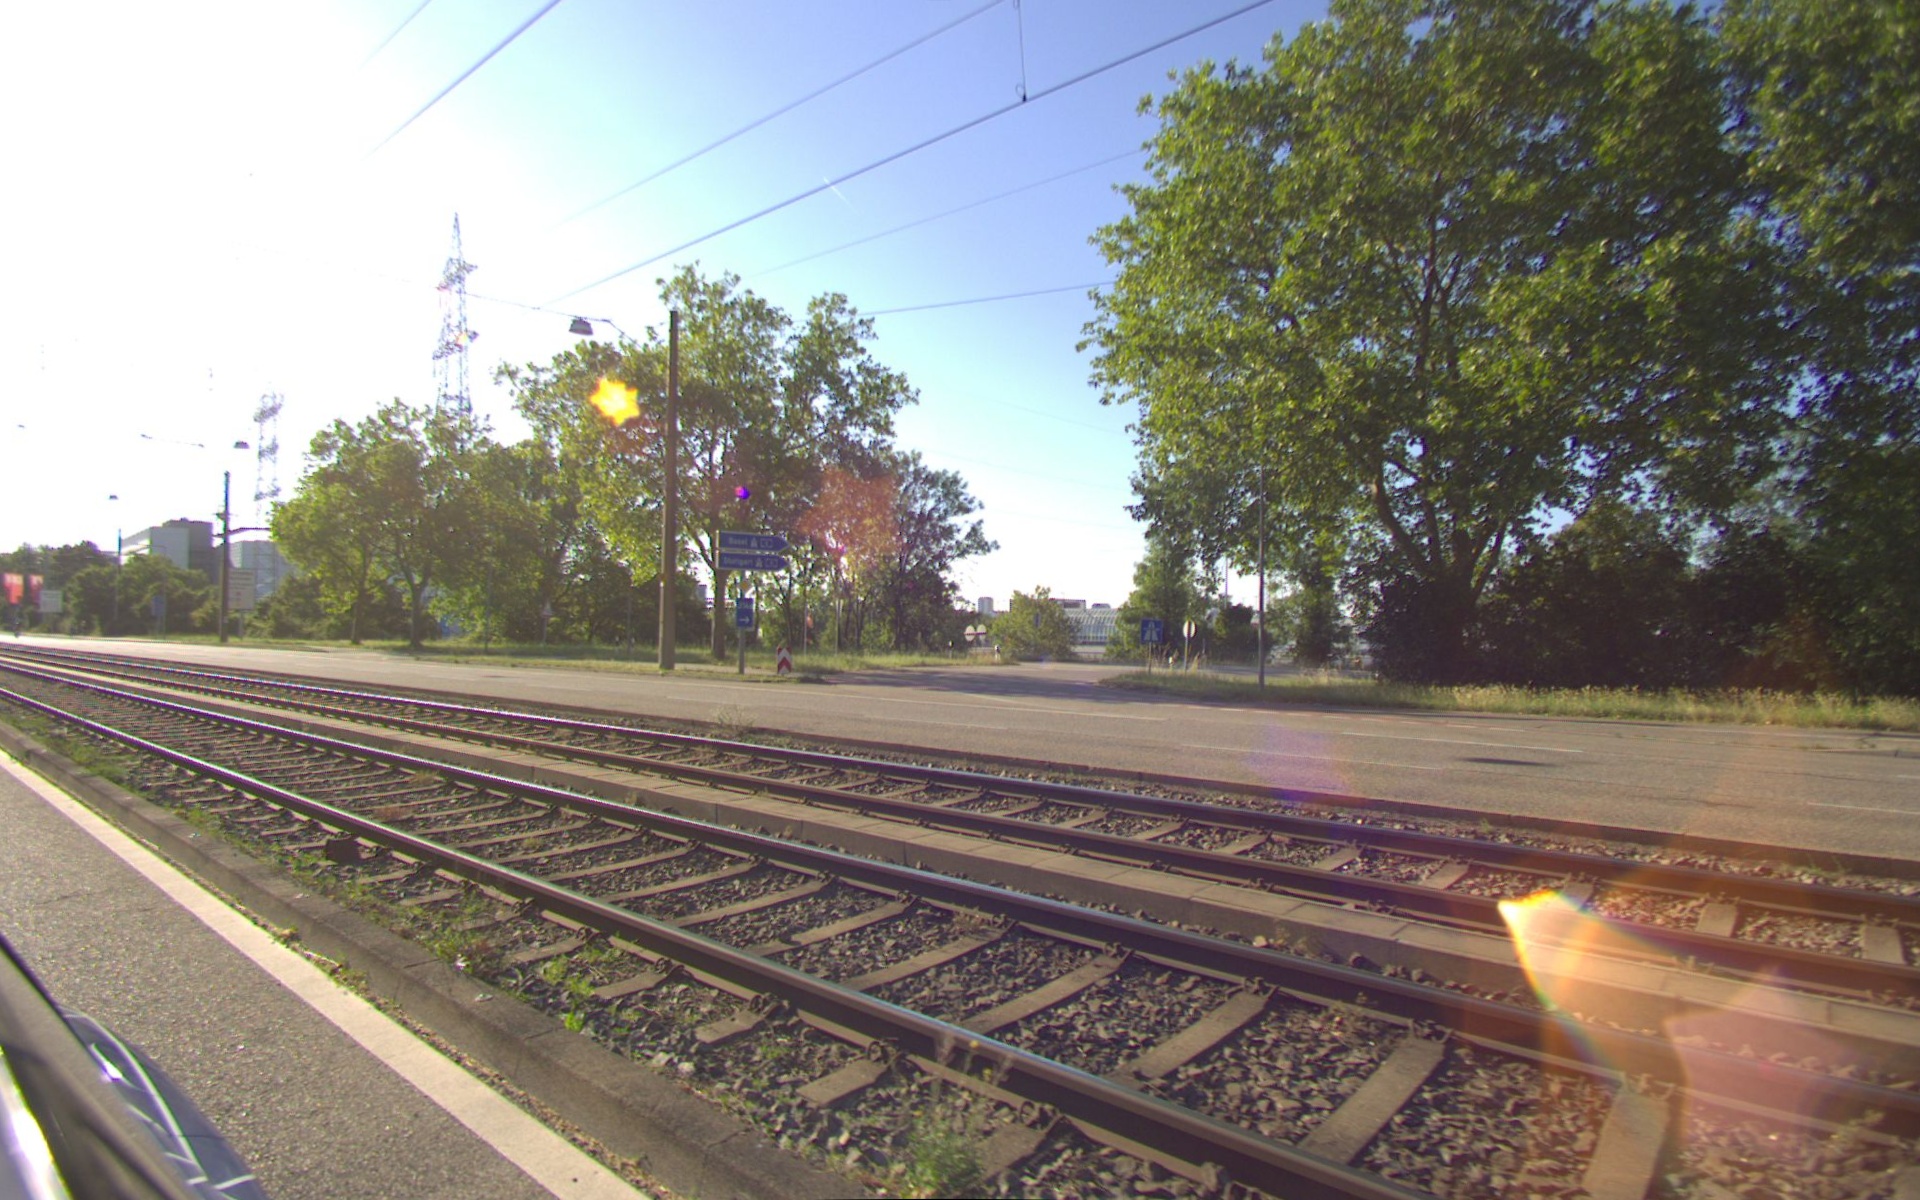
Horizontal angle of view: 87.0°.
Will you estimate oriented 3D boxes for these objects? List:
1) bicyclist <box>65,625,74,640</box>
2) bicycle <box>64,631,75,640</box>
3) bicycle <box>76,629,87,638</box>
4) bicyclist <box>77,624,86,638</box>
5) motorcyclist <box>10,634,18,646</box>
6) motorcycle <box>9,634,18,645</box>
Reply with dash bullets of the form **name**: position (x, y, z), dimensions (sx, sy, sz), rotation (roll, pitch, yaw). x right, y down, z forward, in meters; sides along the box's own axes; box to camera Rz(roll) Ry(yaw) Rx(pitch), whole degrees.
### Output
- **bicyclist**: position (-97.958, 3.585, 111.300), dimensions (0.966, 1.623, 0.584), rotation (-1, -2, 41)
- **bicycle**: position (-98.032, 3.895, 111.368), dimensions (2.184, 1.029, 0.584), rotation (-1, -2, 41)
- **bicycle**: position (-97.514, 3.711, 112.359), dimensions (2.184, 1.029, 0.584), rotation (-1, -2, 41)
- **bicyclist**: position (-97.513, 3.445, 112.352), dimensions (0.905, 1.540, 0.584), rotation (-1, -2, 41)
- **motorcyclist**: position (-99.109, 4.173, 105.976), dimensions (0.804, 1.280, 0.530), rotation (-1, 0, 41)
- **motorcycle**: position (-99.100, 4.166, 105.975), dimensions (1.901, 1.099, 0.530), rotation (-1, 0, 41)
